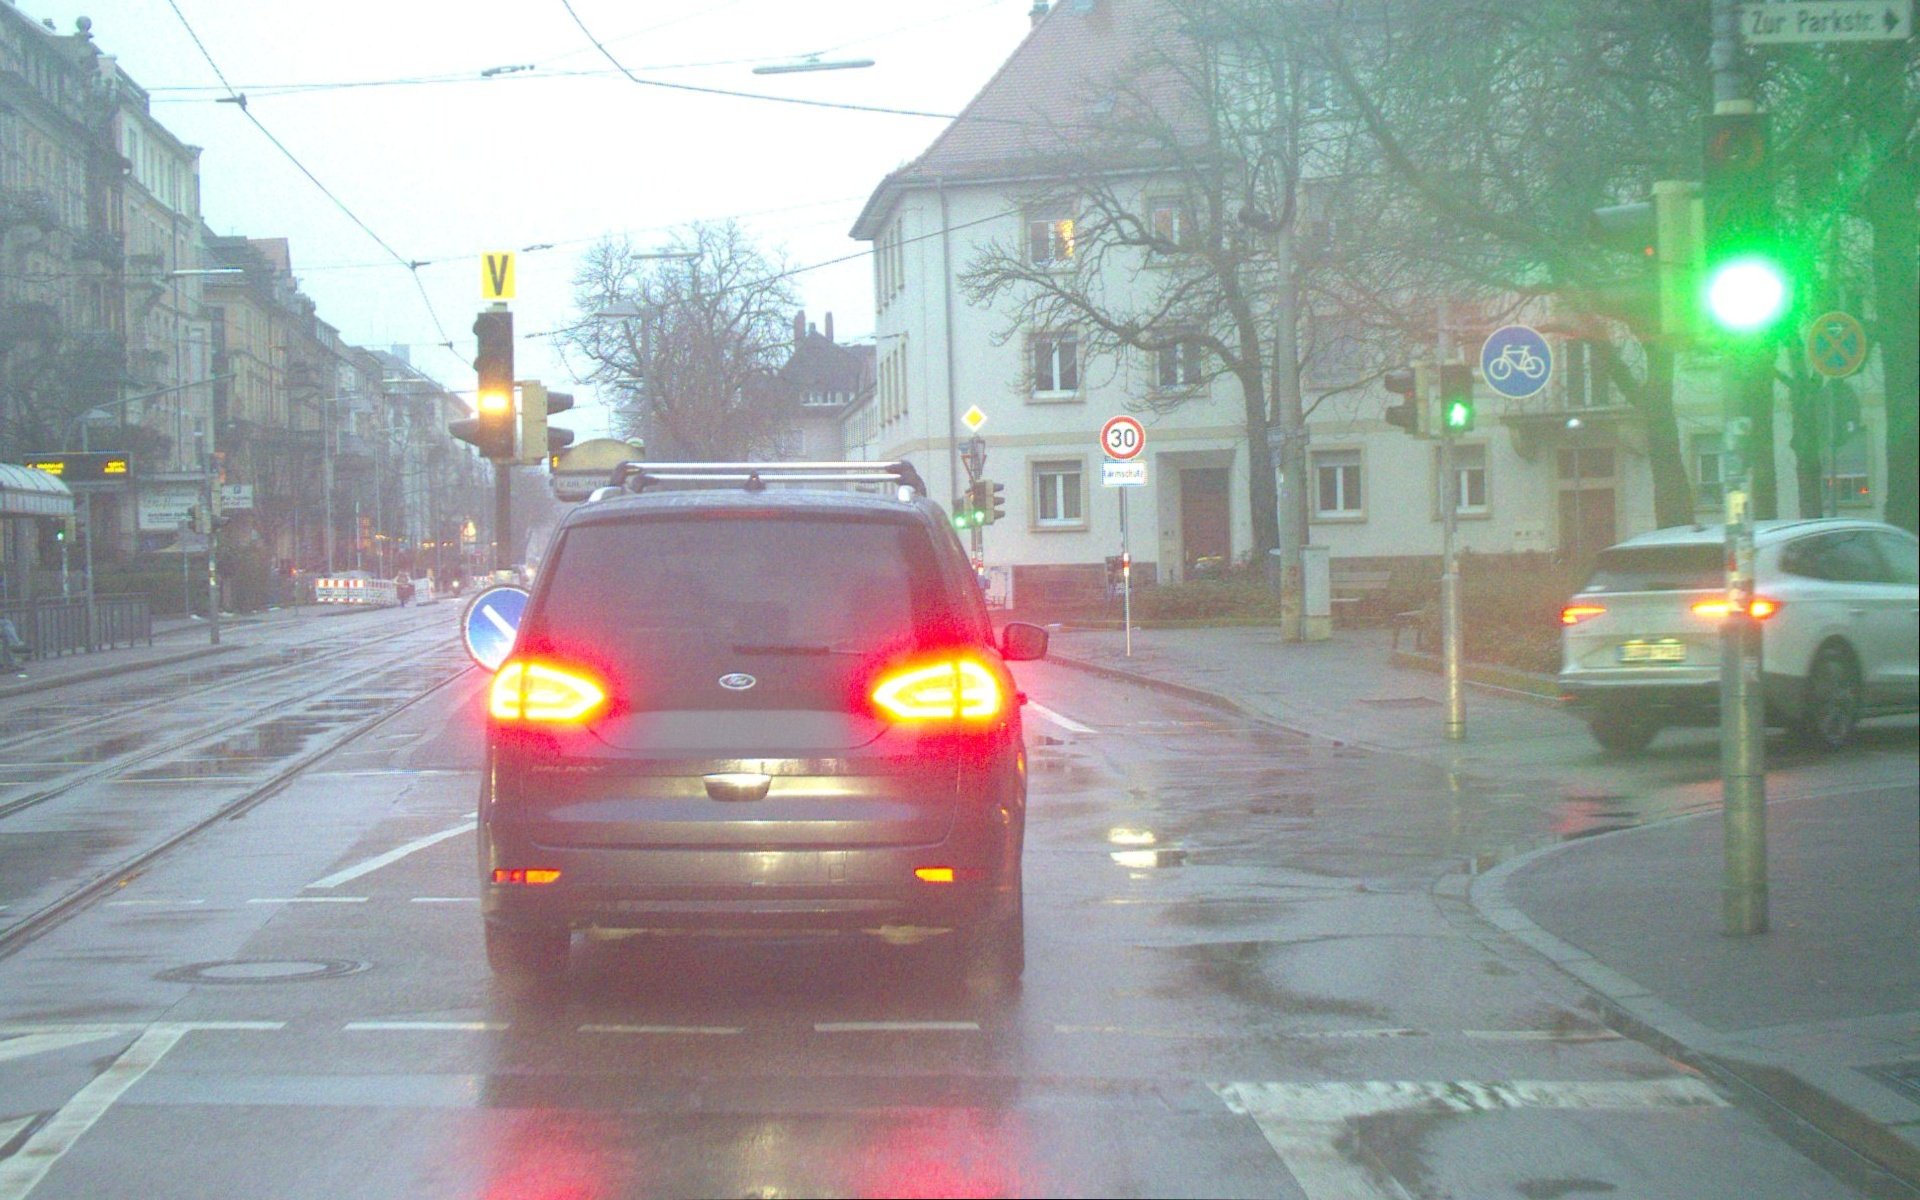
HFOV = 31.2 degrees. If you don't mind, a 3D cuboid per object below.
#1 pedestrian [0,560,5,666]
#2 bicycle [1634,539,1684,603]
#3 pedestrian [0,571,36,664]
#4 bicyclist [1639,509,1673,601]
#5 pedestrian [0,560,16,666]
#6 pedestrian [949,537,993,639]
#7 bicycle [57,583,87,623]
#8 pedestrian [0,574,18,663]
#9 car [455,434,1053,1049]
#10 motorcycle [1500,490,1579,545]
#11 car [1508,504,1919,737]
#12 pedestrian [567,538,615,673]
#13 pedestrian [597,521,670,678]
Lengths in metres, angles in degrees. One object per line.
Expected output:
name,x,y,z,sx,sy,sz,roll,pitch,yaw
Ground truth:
pedestrian,-12.992,0.165,45.243,0.684,1.399,0.578,2,0,-5
bicycle,14.398,-0.597,70.839,0.466,1.287,1.914,-1,1,-5
pedestrian,-13.205,0.231,46.906,1.055,1.250,0.506,2,0,-5
bicyclist,14.356,-0.928,70.934,0.466,1.880,0.679,-1,1,-5
pedestrian,-12.855,0.164,45.720,0.473,1.399,0.453,2,0,-5
pedestrian,0.209,-0.224,65.352,0.715,1.911,0.688,2,0,6
bicycle,-23.286,0.077,90.164,0.416,1.003,1.849,-2,1,-4
pedestrian,-13.385,0.241,47.429,0.652,1.214,0.517,2,0,-5
car,-0.764,0.420,12.661,1.801,1.864,4.018,2,1,-4
motorcycle,12.173,-1.737,72.277,0.568,1.101,1.602,-5,3,-41
car,6.108,0.146,24.802,1.898,1.505,4.741,2,1,43
pedestrian,-4.804,0.069,44.749,0.557,1.735,0.571,2,0,-4
pedestrian,-4.109,-0.006,43.324,0.853,1.949,0.571,2,0,-4
